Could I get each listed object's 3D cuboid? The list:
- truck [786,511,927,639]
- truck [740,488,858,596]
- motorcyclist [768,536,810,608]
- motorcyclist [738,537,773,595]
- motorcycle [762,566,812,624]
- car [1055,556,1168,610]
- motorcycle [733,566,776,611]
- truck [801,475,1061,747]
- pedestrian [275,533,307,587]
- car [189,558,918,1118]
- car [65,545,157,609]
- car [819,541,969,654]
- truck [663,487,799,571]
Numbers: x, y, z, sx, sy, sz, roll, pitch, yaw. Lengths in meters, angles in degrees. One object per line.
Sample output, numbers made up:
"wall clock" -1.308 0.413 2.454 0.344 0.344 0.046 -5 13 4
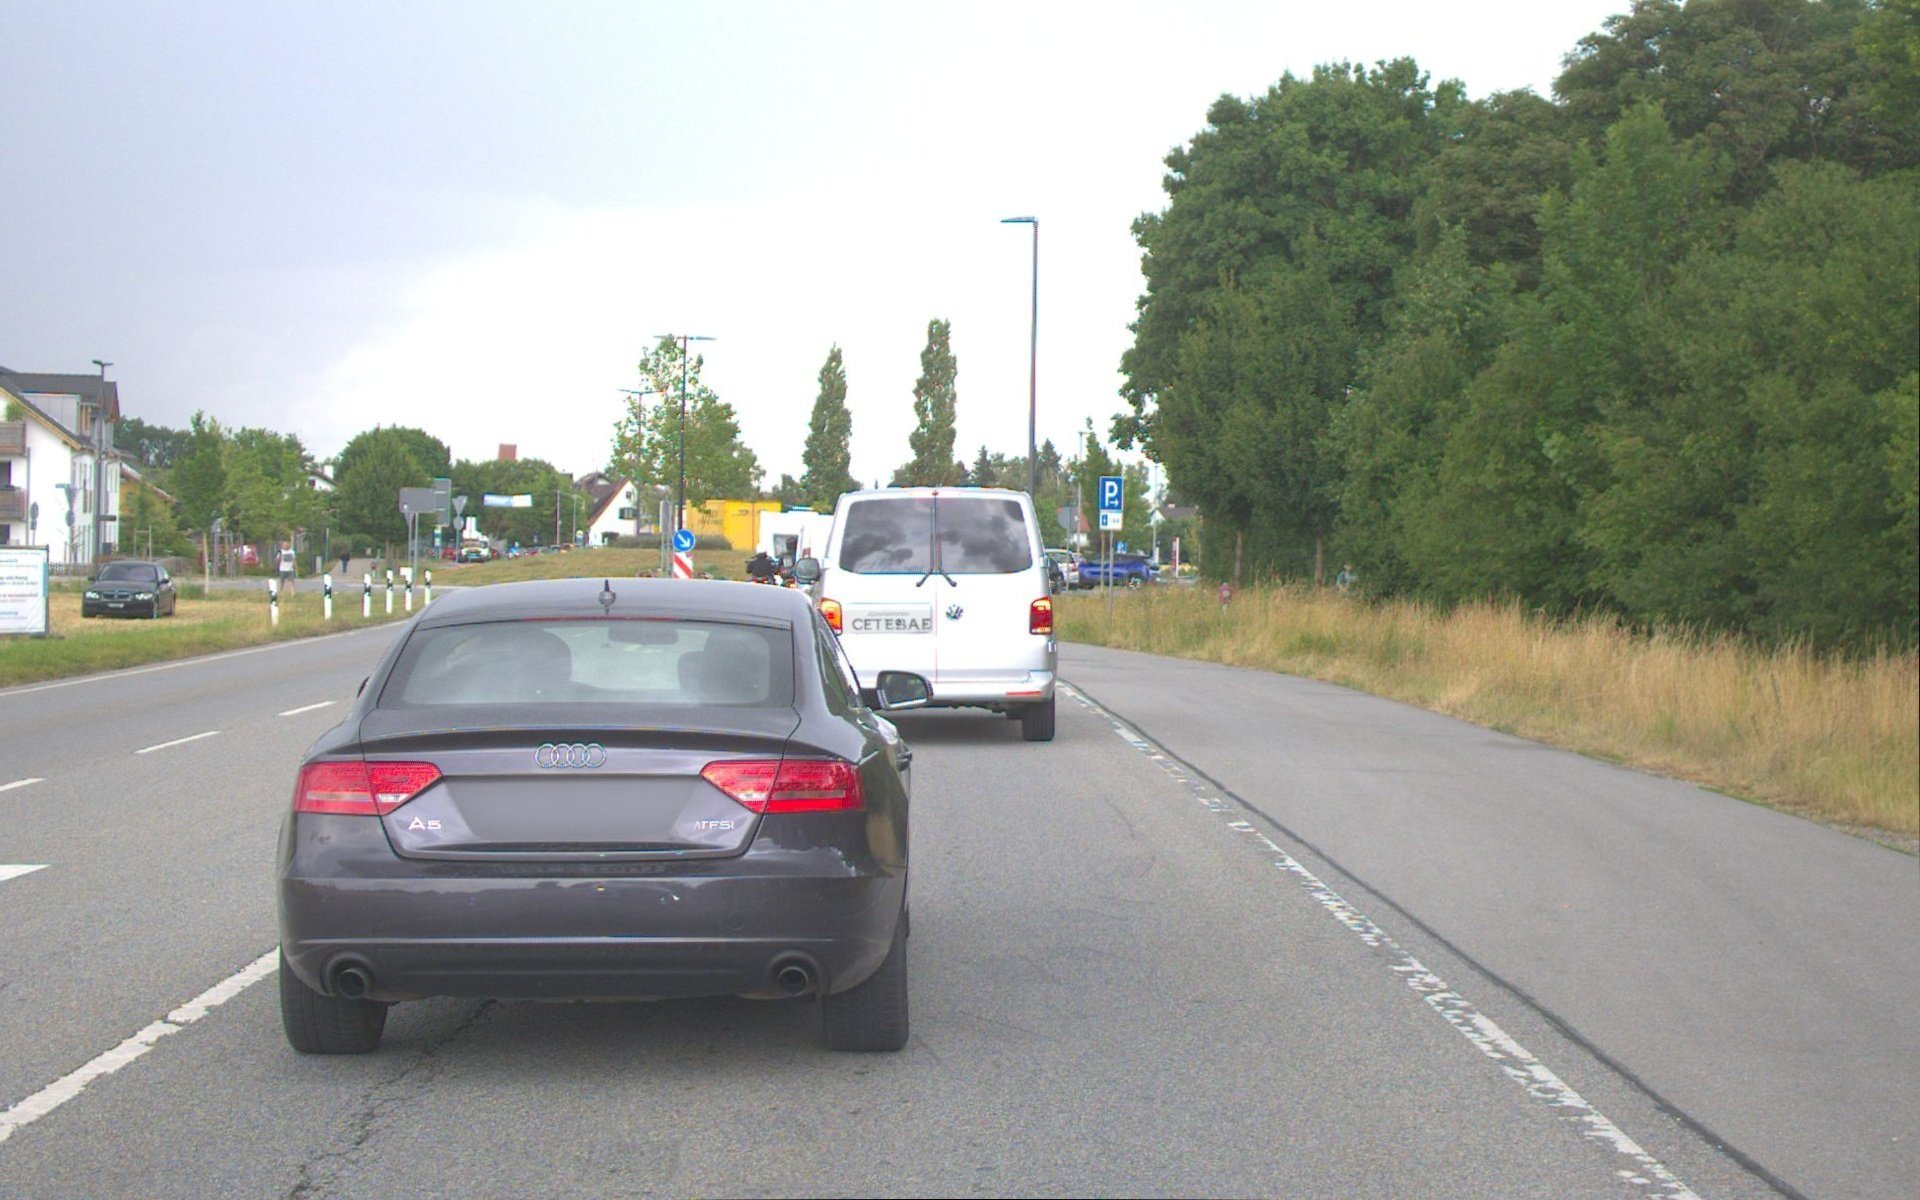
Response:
"truck" -1.676 -0.435 57.418 2.193 2.007 5.085 1 1 0
"truck" -4.347 -1.535 91.857 2.626 2.728 5.868 1 1 -7
"motorcyclist" -3.345 -0.554 67.170 0.772 1.379 0.820 1 1 -1
"motorcyclist" -4.801 -0.795 80.822 0.785 1.352 0.854 1 1 -2
"motorcycle" -3.375 -0.105 67.167 0.920 1.090 2.189 1 1 -2
"car" 5.955 -0.679 135.218 3.991 2.007 1.998 2 1 20
"motorcycle" -4.820 -0.282 80.850 0.944 1.016 2.284 1 1 -2
"truck" -0.231 0.040 27.853 1.904 1.991 4.628 1 1 0
"pedestrian" -19.768 -1.173 101.606 0.701 1.580 0.657 1 1 16
"car" -1.091 0.599 11.089 1.875 1.449 4.177 0 1 0
"car" -20.720 -0.571 84.006 1.993 1.437 4.001 1 2 -11
"car" -0.926 -0.060 48.024 1.993 1.480 4.000 1 1 -1
"truck" -10.360 -3.217 154.047 3.575 3.566 9.960 1 1 -19
